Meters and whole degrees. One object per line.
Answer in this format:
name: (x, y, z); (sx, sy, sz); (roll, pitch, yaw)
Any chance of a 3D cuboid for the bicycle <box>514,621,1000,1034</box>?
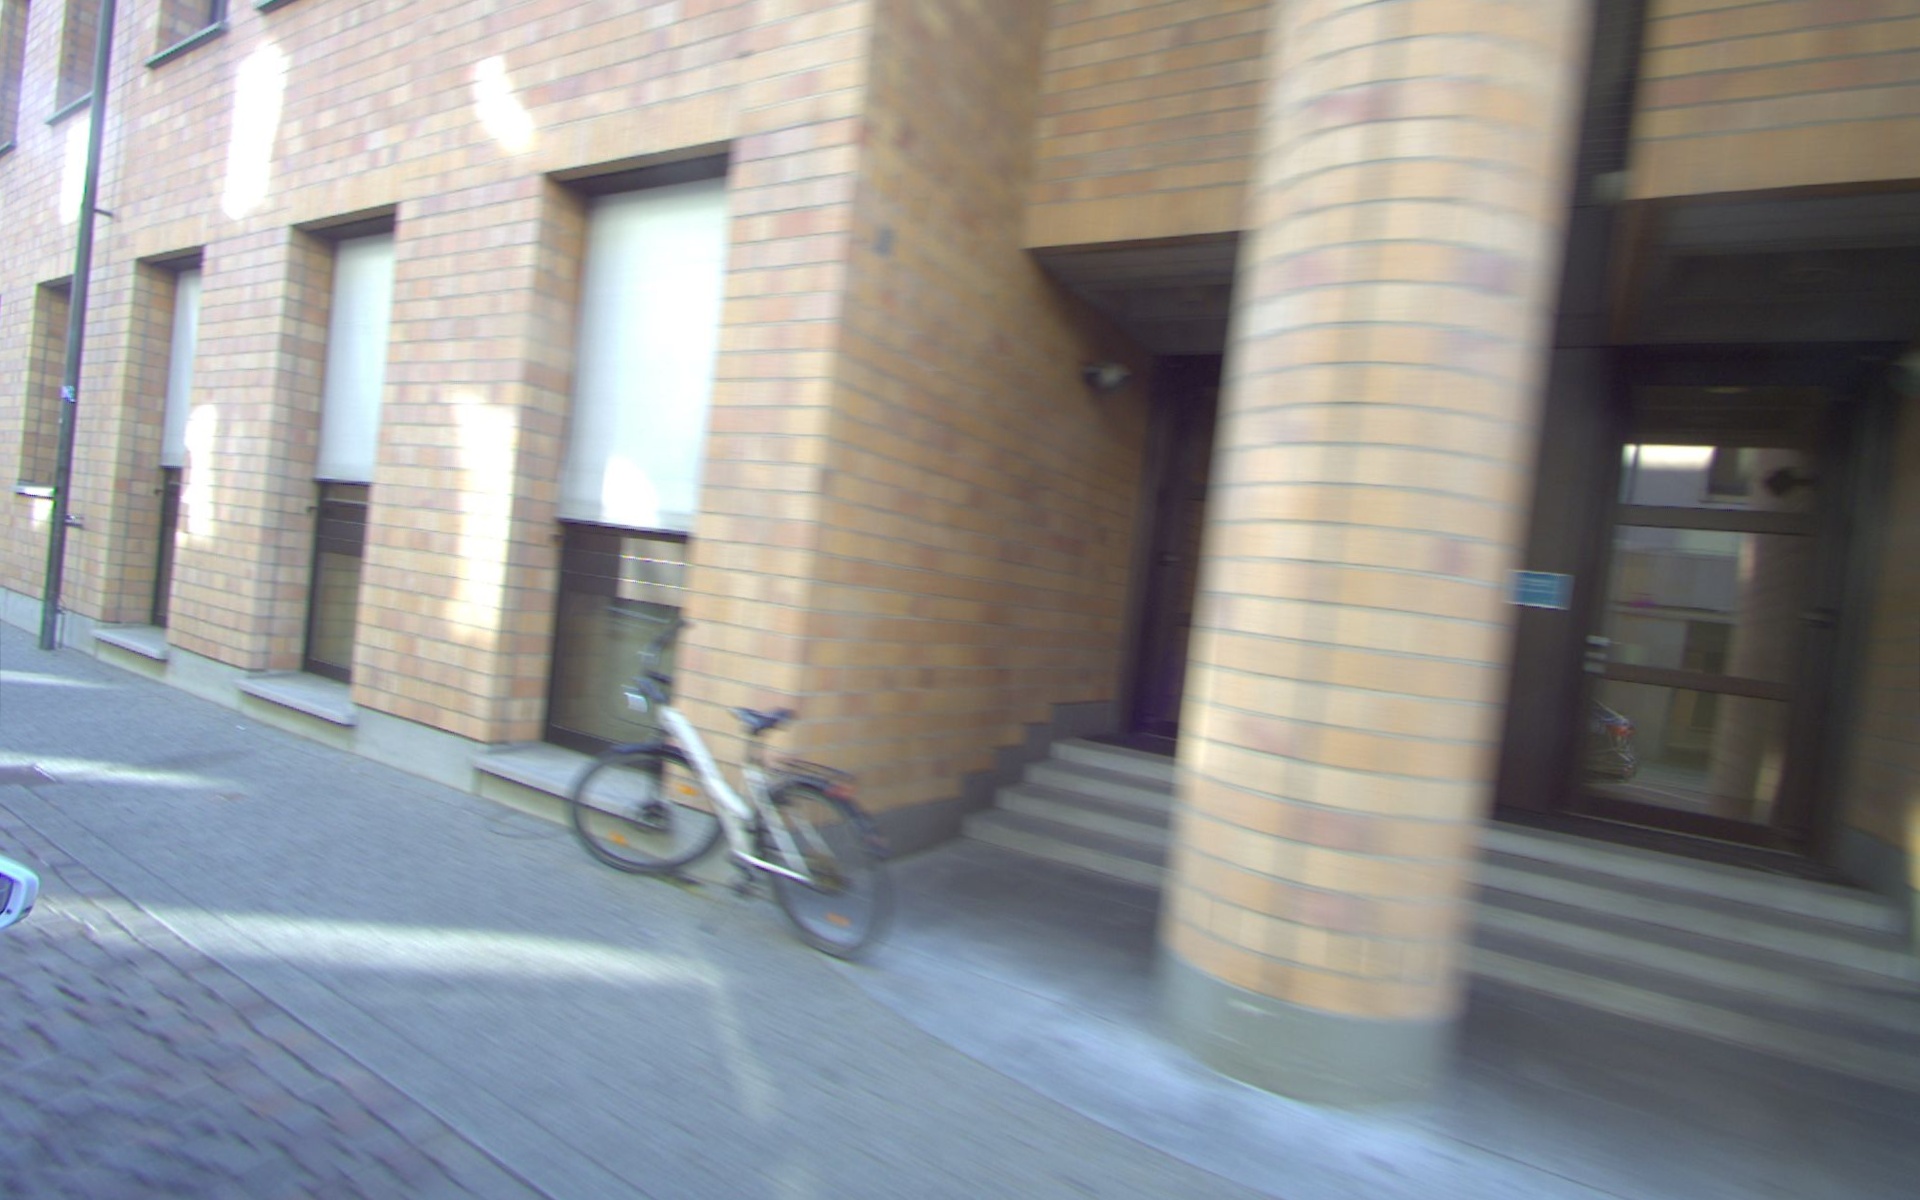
bicycle: (-0.876, 0.761, 3.986); (1.948, 1.119, 0.549); (7, 5, 30)
